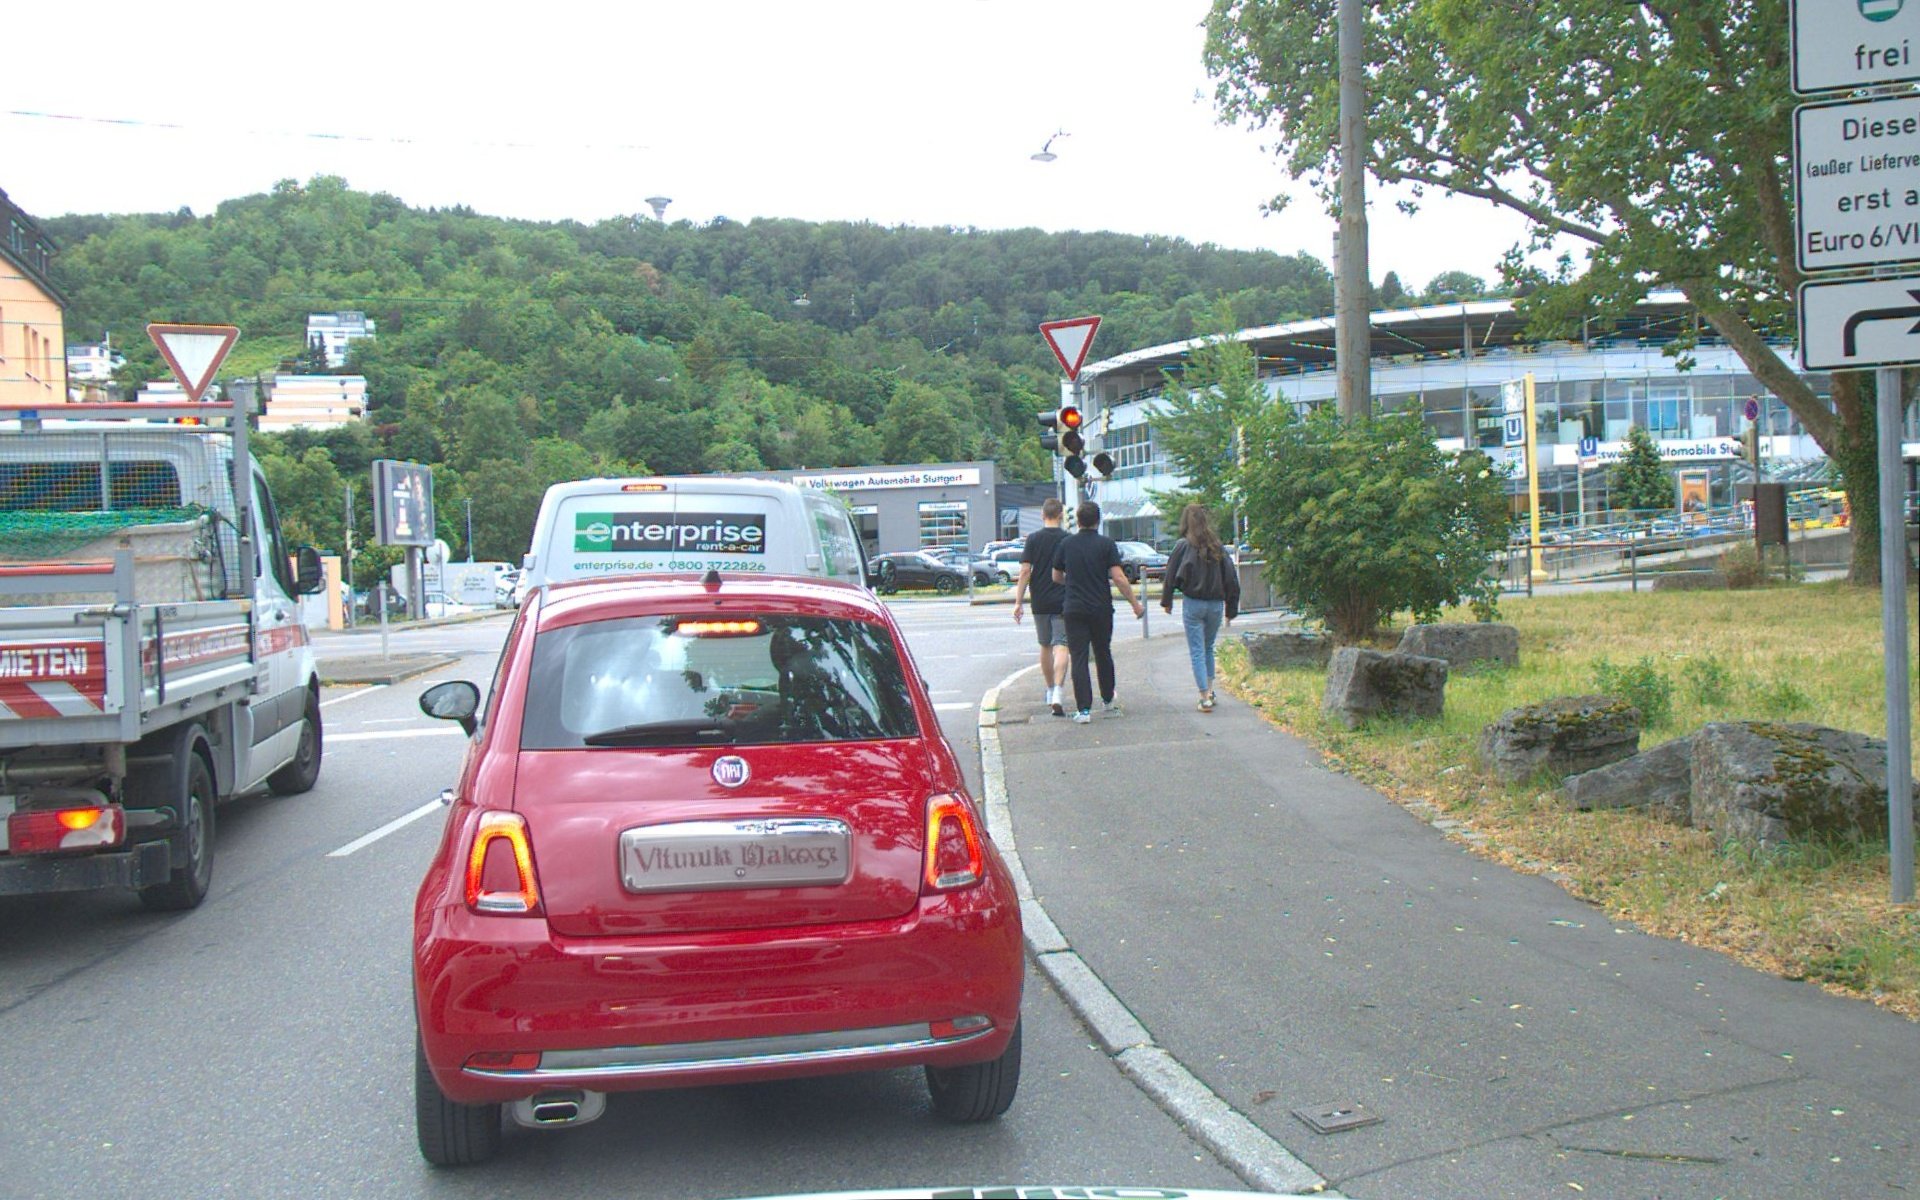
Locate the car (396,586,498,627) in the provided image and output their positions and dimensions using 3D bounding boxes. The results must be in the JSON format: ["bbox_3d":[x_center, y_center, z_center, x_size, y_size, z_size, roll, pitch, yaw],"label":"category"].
[{"bbox_3d":[-22.483,0.250,72.648,4.135,1.560,1.768,-3,2,-16],"label":"car"}]

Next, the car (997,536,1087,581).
[{"bbox_3d":[4.412,-2.251,89.230,4.696,2.194,2.234,-2,1,2],"label":"car"}]

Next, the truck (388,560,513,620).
[{"bbox_3d":[-23.300,-0.483,75.738,5.127,2.434,1.981,-3,2,-29],"label":"truck"}]

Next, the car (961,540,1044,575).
[{"bbox_3d":[2.479,-2.461,96.282,4.696,1.834,1.776,-2,1,2],"label":"car"}]

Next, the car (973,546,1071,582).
[{"bbox_3d":[3.059,-1.773,81.141,4.696,1.560,1.776,-2,1,2],"label":"car"}]

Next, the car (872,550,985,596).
[{"bbox_3d":[-1.139,-1.013,61.381,3.787,1.526,1.777,-2,2,16],"label":"car"}]

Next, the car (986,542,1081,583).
[{"bbox_3d":[3.743,-1.916,84.280,4.696,1.834,1.776,-2,1,2],"label":"car"}]

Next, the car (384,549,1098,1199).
[{"bbox_3d":[-0.806,0.616,5.522,1.610,1.482,3.421,-2,1,-11],"label":"car"}]

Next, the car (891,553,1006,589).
[{"bbox_3d":[-0.474,-1.236,70.539,4.572,1.351,1.777,-2,2,13],"label":"car"}]

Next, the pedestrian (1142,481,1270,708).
[{"bbox_3d":[1.998,-0.053,13.495,0.683,1.770,0.784,-3,1,-19],"label":"pedestrian"}]

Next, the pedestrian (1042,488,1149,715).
[{"bbox_3d":[1.097,0.004,13.295,0.678,1.744,0.789,-2,1,13],"label":"pedestrian"}]

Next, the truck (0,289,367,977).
[{"bbox_3d":[-4.763,0.116,8.631,2.381,2.439,6.008,-3,1,-14],"label":"truck"}]

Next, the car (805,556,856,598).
[{"bbox_3d":[-6.130,-1.107,78.760,1.952,1.847,4.001,-2,2,1],"label":"car"}]

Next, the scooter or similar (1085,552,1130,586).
[{"bbox_3d":[5.574,-1.180,62.400,1.633,1.198,0.468,-2,1,6],"label":"scooter or similar"}]

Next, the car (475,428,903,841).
[{"bbox_3d":[-1.547,0.126,11.323,1.948,2.143,4.763,-3,1,1],"label":"car"}]

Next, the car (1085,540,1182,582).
[{"bbox_3d":[6.815,-1.527,65.098,1.754,1.526,3.837,-3,2,-33],"label":"car"}]

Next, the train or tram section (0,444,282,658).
[{"bbox_3d":[-22.632,-0.607,29.821,18.799,3.729,3.265,-3,1,-15],"label":"train or tram section"}]

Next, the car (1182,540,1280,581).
[{"bbox_3d":[10.952,-1.572,67.037,1.753,1.526,3.979,-3,2,-31],"label":"car"}]

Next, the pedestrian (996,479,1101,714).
[{"bbox_3d":[0.751,-0.037,13.876,0.678,1.889,0.789,-2,1,13],"label":"pedestrian"}]

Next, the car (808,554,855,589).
[{"bbox_3d":[-6.091,-1.369,78.730,1.733,1.560,4.092,-2,2,2],"label":"car"}]

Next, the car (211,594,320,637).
[{"bbox_3d":[-29.473,0.635,70.290,4.146,1.560,1.763,-3,2,-23],"label":"car"}]

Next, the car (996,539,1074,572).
[{"bbox_3d":[4.589,-2.719,101.207,4.696,1.834,1.776,-2,1,2],"label":"car"}]

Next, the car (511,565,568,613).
[{"bbox_3d":[-17.291,-0.490,68.153,1.826,1.849,4.393,-3,2,-9],"label":"car"}]
